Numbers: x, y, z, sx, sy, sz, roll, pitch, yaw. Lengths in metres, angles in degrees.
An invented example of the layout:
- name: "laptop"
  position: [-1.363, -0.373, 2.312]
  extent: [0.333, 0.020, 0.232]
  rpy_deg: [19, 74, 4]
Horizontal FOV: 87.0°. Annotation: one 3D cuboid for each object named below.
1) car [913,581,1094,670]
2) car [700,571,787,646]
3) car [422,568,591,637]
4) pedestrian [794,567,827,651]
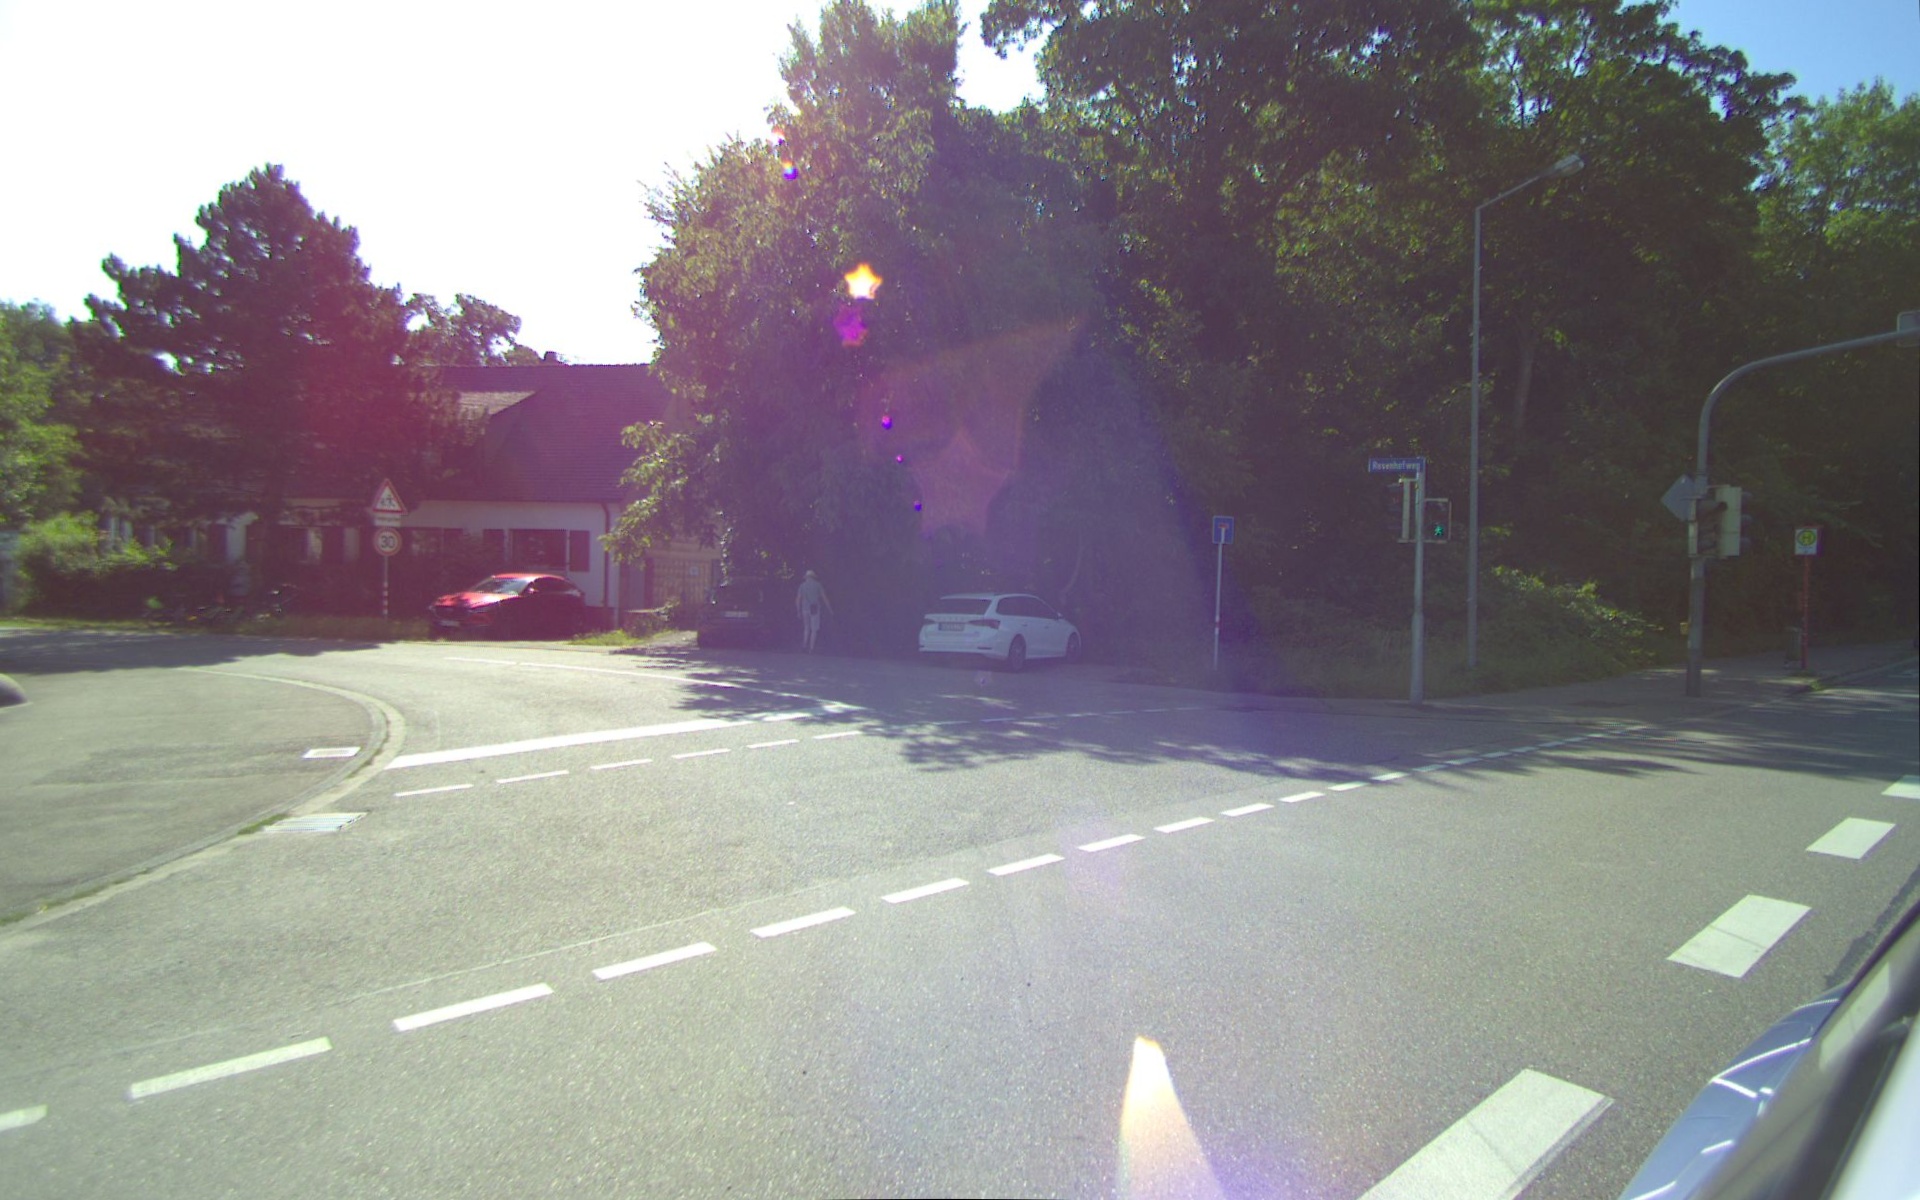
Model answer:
- name: "car"
  position: [0.985, 0.410, 19.746]
  extent: [1.615, 1.482, 4.567]
  rpy_deg: [2, 2, 30]
- name: "car"
  position: [-4.724, 0.127, 22.450]
  extent: [1.595, 1.482, 3.797]
  rpy_deg: [1, 1, -8]
- name: "car"
  position: [-10.831, 0.014, 24.470]
  extent: [1.605, 1.482, 3.970]
  rpy_deg: [2, 1, 15]
- name: "pedestrian"
  position: [-2.963, 0.169, 20.078]
  extent: [0.597, 1.650, 0.415]
  rpy_deg: [1, 1, -11]
